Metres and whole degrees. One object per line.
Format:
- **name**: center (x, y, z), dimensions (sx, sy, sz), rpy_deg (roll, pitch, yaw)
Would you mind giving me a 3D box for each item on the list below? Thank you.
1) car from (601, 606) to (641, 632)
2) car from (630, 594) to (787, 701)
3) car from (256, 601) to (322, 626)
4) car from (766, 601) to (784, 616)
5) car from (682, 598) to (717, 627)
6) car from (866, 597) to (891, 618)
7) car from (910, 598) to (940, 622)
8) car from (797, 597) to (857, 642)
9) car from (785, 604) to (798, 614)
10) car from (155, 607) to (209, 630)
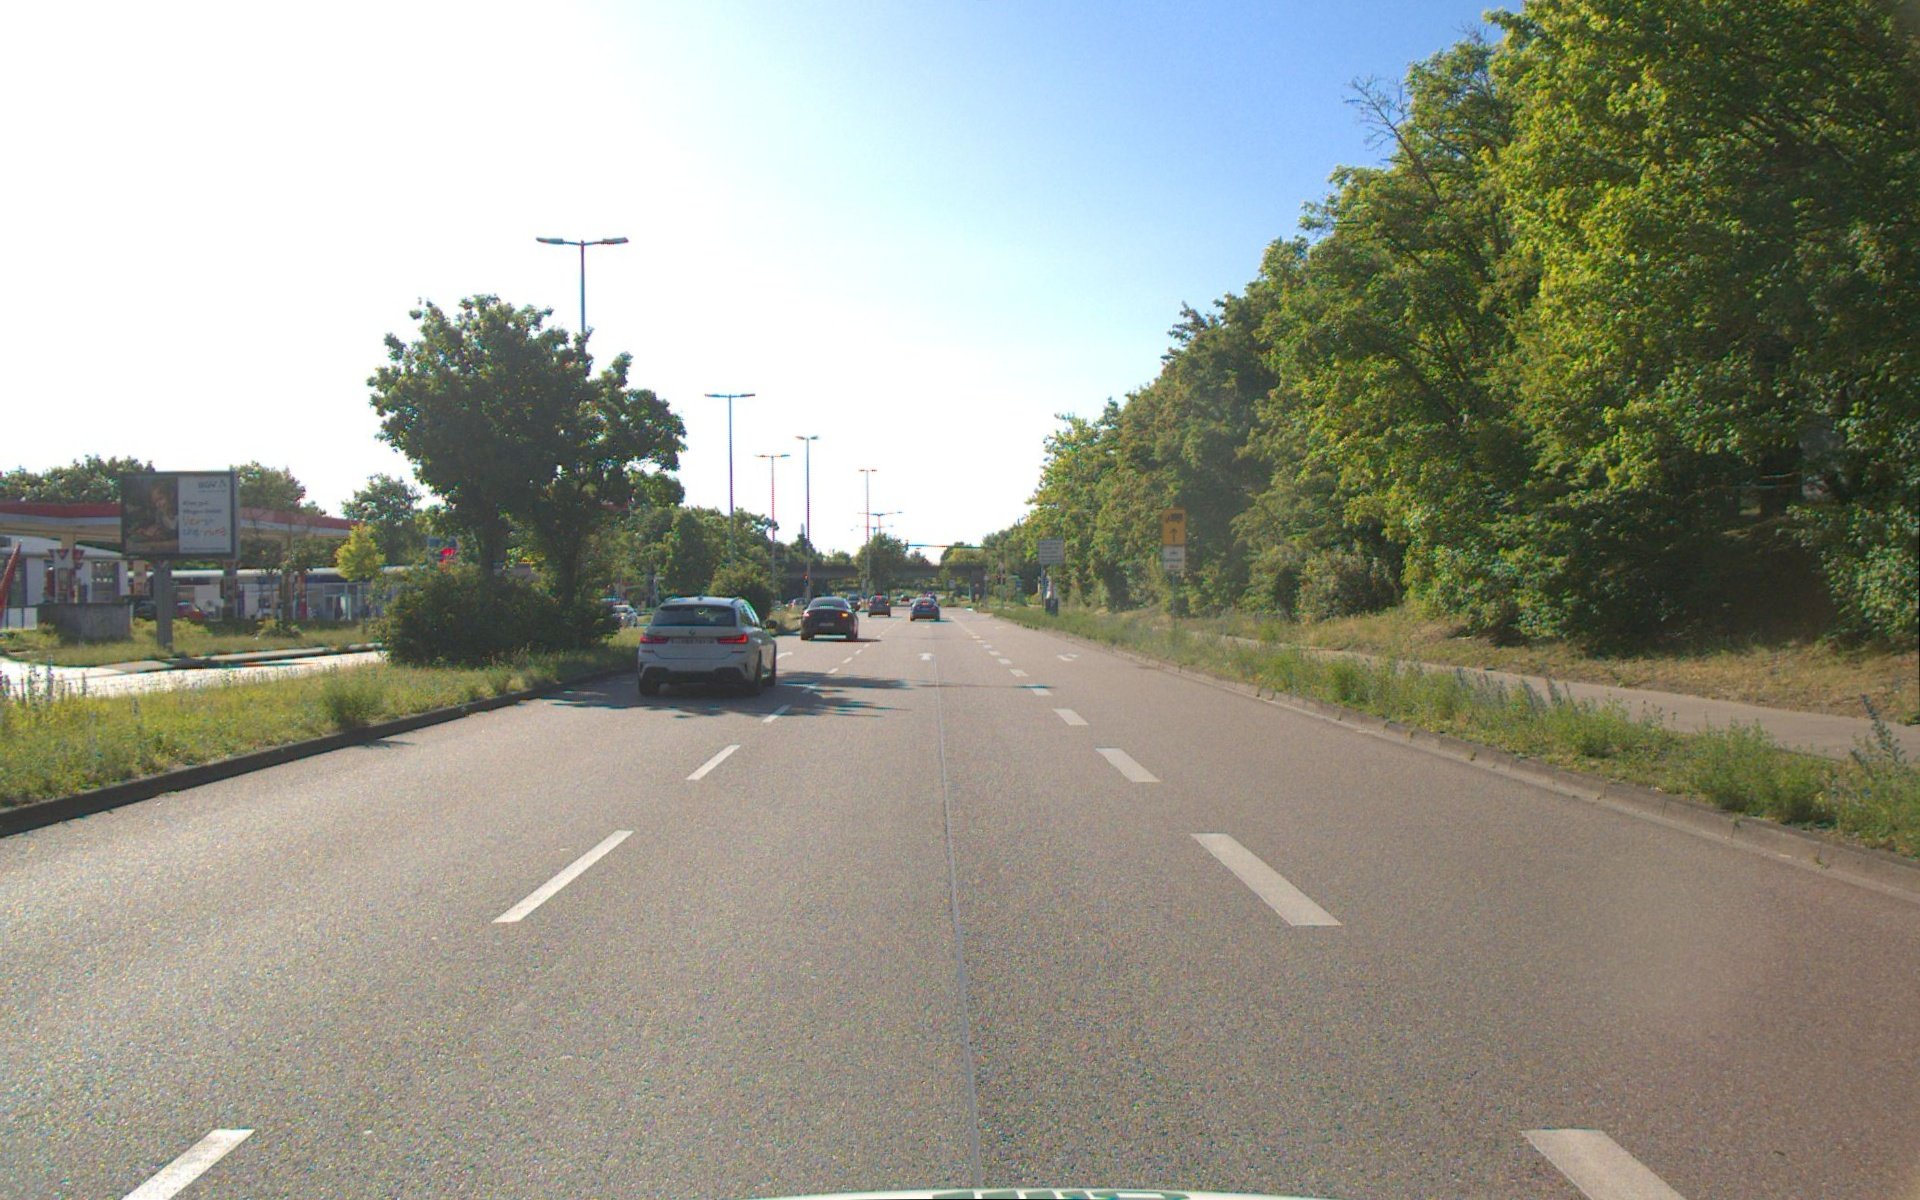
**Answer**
- **car**: center (-21.486, 1.198, 104.938), dimensions (1.704, 1.481, 4.208), rpy_deg (-3, 0, -1)
- **car**: center (-3.846, 0.673, 25.981), dimensions (1.824, 1.480, 4.546), rpy_deg (1, 0, -1)
- **car**: center (-51.817, 1.019, 127.853), dimensions (4.297, 1.875, 1.998), rpy_deg (-1, 0, -4)
- **car**: center (-19.496, 0.856, 174.371), dimensions (1.504, 1.477, 3.670), rpy_deg (-2, 0, -1)
- **car**: center (-18.204, 0.859, 115.716), dimensions (1.704, 1.833, 4.670), rpy_deg (-3, 0, -1)
- **car**: center (-6.283, 0.564, 127.857), dimensions (1.824, 1.592, 4.546), rpy_deg (0, 0, -1)
- **car**: center (-2.249, 0.625, 106.058), dimensions (1.824, 1.525, 4.335), rpy_deg (-1, 0, -1)
- **car**: center (-4.584, 0.638, 57.509), dimensions (1.824, 1.480, 4.546), rpy_deg (-1, 0, -1)
- **car**: center (-24.068, 1.284, 236.319), dimensions (1.669, 1.427, 3.722), rpy_deg (-1, 0, -1)
- **car**: center (-54.064, 1.278, 115.029), dimensions (1.773, 1.577, 4.293), rpy_deg (-1, 0, 0)
